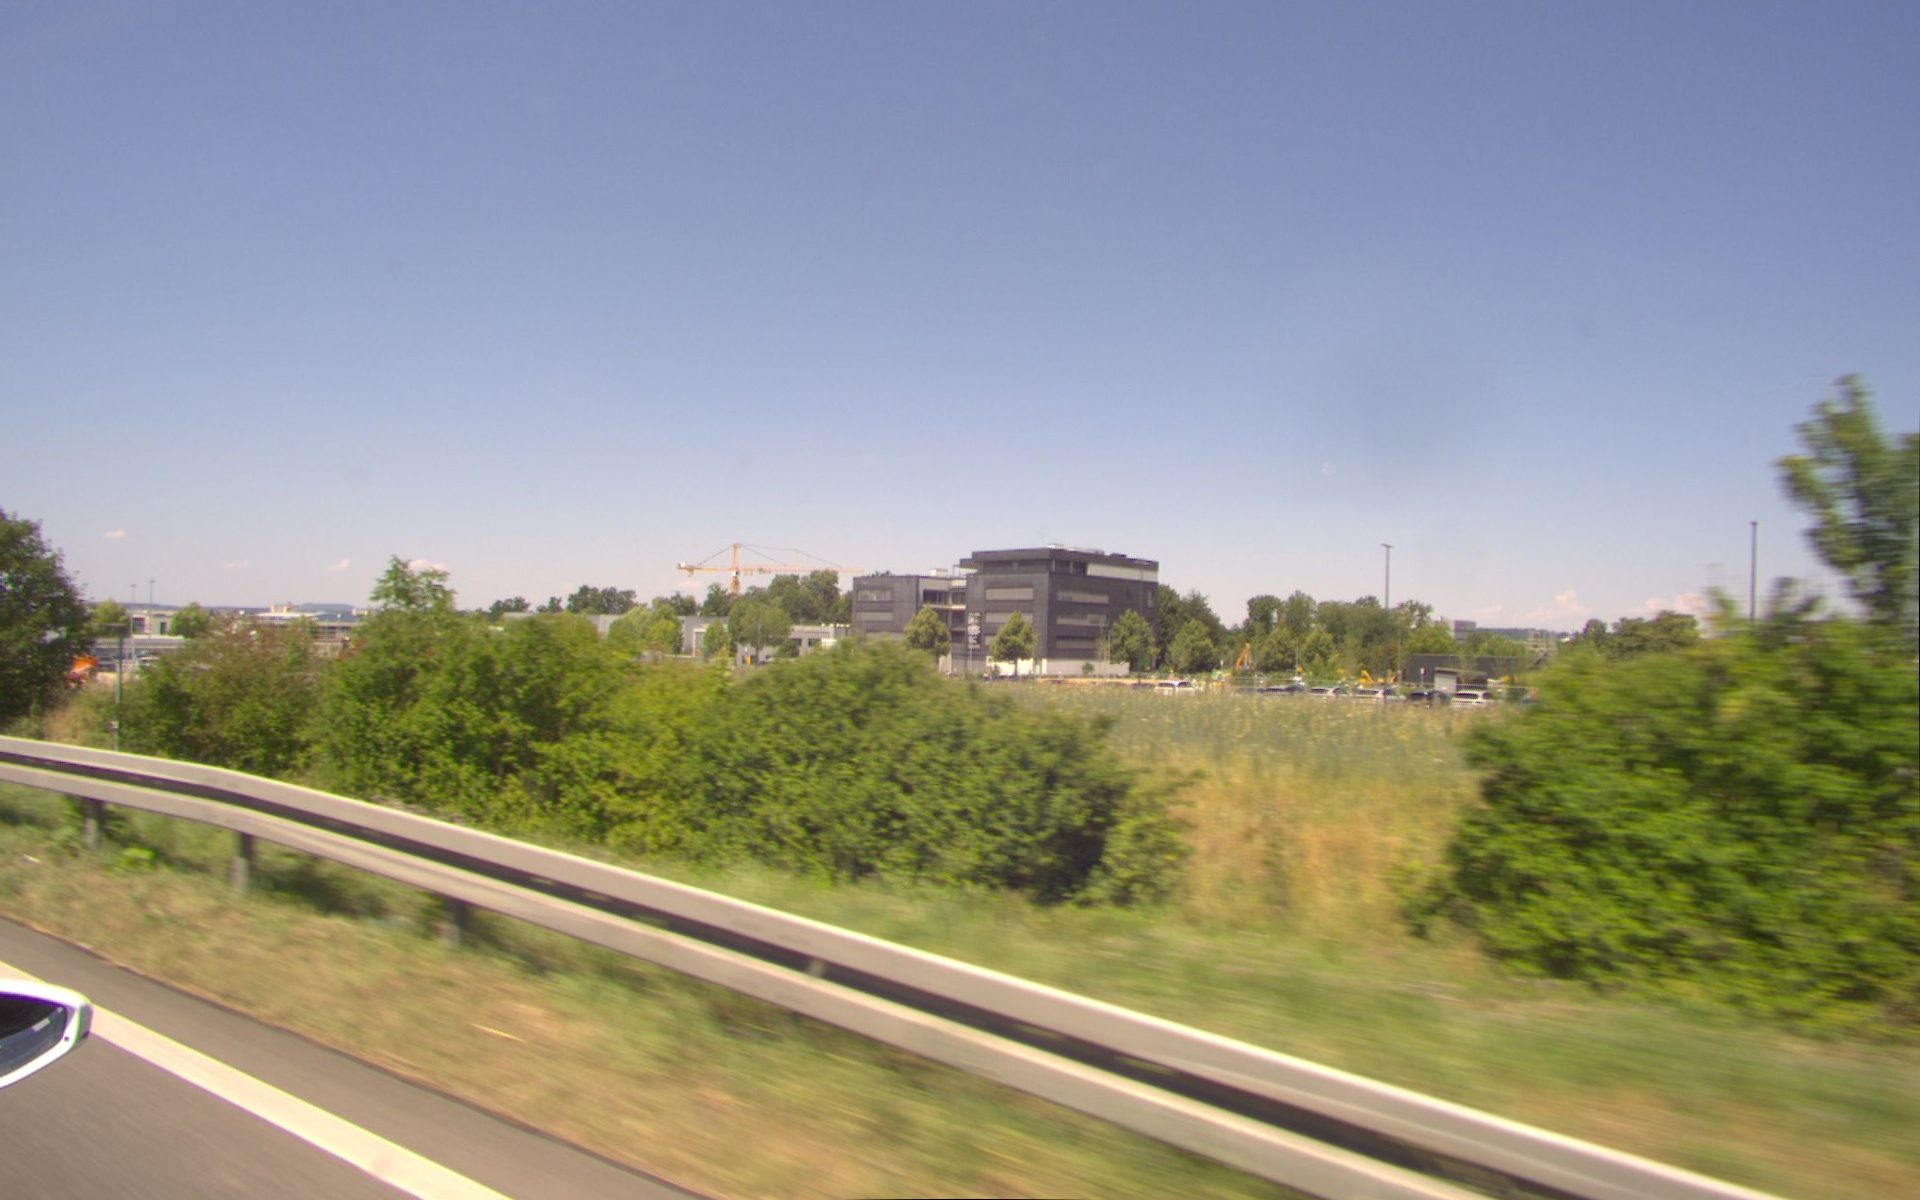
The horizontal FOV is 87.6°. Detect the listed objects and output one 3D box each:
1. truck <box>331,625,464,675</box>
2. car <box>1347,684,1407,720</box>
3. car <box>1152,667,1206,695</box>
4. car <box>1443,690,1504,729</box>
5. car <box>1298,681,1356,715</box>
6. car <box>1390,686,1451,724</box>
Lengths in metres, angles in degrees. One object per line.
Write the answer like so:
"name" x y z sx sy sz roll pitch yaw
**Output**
"truck" -46.812 4.204 83.713 9.273 3.731 3.120 3 -2 -25
"car" 25.955 6.290 62.305 3.962 2.039 1.981 4 -3 -43
"car" 16.111 5.931 73.568 3.964 1.939 1.980 4 -3 -44
"car" 29.810 6.294 58.092 3.964 2.039 1.980 4 -3 -44
"car" 23.664 6.275 64.468 3.964 2.039 1.980 4 -3 -44
"car" 27.802 6.296 60.401 3.964 2.039 1.980 4 -3 -44
